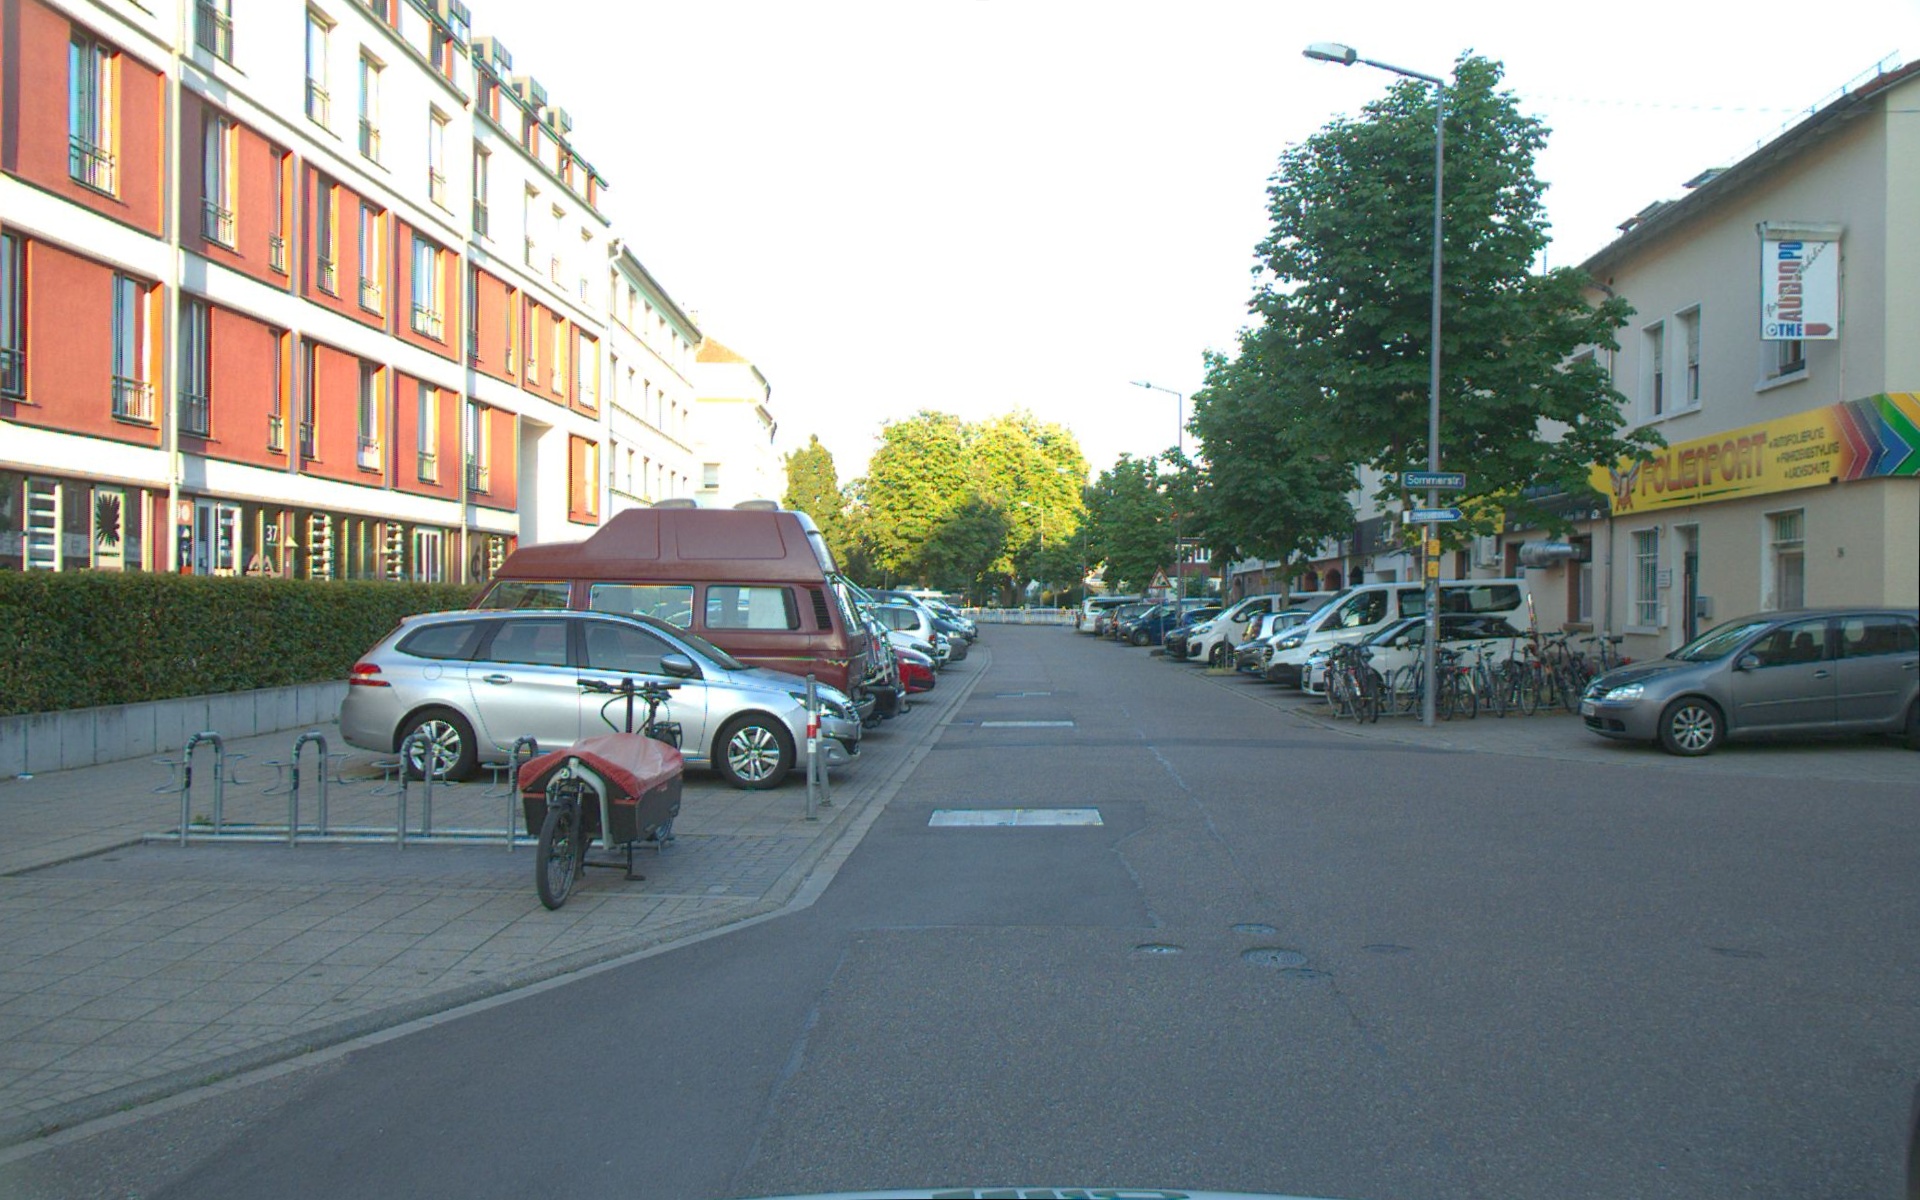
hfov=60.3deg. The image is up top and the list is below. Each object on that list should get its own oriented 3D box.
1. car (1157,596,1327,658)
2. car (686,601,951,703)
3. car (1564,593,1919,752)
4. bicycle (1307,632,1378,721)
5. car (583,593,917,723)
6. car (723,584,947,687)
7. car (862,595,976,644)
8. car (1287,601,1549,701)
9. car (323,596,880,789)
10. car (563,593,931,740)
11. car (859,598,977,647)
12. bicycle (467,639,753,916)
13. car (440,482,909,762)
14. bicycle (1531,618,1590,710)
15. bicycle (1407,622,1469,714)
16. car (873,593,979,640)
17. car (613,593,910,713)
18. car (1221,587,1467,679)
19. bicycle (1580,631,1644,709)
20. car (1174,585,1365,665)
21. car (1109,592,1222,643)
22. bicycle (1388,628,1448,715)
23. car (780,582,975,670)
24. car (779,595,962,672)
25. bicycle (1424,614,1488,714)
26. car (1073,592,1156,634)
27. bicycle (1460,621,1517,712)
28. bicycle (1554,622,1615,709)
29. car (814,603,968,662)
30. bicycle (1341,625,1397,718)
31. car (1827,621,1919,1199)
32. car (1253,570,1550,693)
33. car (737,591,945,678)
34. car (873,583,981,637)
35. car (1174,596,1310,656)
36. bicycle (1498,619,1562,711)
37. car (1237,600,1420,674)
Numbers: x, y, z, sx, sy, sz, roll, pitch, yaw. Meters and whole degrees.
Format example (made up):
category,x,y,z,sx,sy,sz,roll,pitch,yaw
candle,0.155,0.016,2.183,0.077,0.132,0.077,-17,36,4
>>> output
category,x,y,z,sx,sy,sz,roll,pitch,yaw
car,8.552,0.808,50.469,4.842,1.718,2.077,-2,0,1
car,-2.281,0.828,27.499,4.121,1.516,1.850,2,0,3
car,8.922,0.760,18.149,3.965,1.540,1.757,-1,1,4
bicycle,5.379,1.050,23.345,0.429,1.150,2.016,-1,0,-3
car,-2.796,0.749,22.475,4.119,1.565,1.843,2,0,9
car,-2.430,0.684,32.937,4.168,1.868,2.001,2,0,3
car,-1.542,0.738,63.420,4.168,1.744,2.001,2,0,3
car,7.569,0.823,27.587,3.838,1.477,1.768,-2,0,0
car,-3.034,0.773,14.762,4.521,1.486,1.880,2,0,-1
car,-2.464,0.766,19.888,4.122,1.565,1.791,2,0,1
car,-1.505,0.822,60.672,4.168,1.650,2.000,2,0,2
bicycle,-1.868,0.889,9.397,0.791,1.243,2.867,2,0,4
car,-2.875,0.205,17.339,4.416,2.629,2.001,2,0,4
bicycle,8.414,0.875,23.210,0.345,1.221,1.482,-1,0,3
bicycle,6.770,0.932,23.482,0.377,1.221,2.018,-1,0,3
car,-1.372,0.660,68.192,4.168,1.780,2.001,2,0,3
car,-2.886,0.760,24.743,4.122,1.603,2.000,2,0,1
car,8.203,0.701,35.701,4.840,1.773,2.050,-2,0,3
bicycle,9.170,0.964,23.298,0.379,1.035,1.482,-1,0,3
car,8.464,0.679,45.519,4.842,1.992,2.049,-2,0,1
car,8.424,0.720,68.032,4.389,1.945,1.687,-2,0,-2
bicycle,6.492,0.992,23.509,0.377,1.133,2.018,-1,0,3
car,-2.067,0.649,42.317,4.749,2.056,1.907,2,0,3
car,-2.114,0.790,39.759,4.168,1.681,1.888,2,0,3
bicycle,7.027,0.878,23.479,0.377,1.327,2.018,-1,0,3
car,7.783,0.649,83.647,3.888,1.945,2.048,-2,0,-2
bicycle,7.431,0.916,23.301,0.377,1.221,1.482,-1,0,3
bicycle,8.771,0.900,23.273,0.345,1.163,1.482,-1,0,3
car,-1.910,0.910,47.004,4.168,1.531,2.001,2,0,3
bicycle,5.796,0.990,23.511,0.377,1.221,2.018,-1,0,3
car,2.665,0.790,1.481,1.685,1.449,4.254,1,0,2
car,7.992,0.571,30.359,4.885,2.018,2.220,-2,0,3
car,-2.495,0.727,35.416,4.168,1.689,2.001,2,0,3
car,-1.391,0.426,70.836,4.439,2.171,2.001,2,0,3
car,9.392,0.851,55.341,4.227,1.835,1.811,-2,0,1
bicycle,7.994,0.892,23.240,0.435,1.221,1.482,-1,0,3
car,8.479,0.846,38.323,3.830,1.553,1.940,-2,0,3
